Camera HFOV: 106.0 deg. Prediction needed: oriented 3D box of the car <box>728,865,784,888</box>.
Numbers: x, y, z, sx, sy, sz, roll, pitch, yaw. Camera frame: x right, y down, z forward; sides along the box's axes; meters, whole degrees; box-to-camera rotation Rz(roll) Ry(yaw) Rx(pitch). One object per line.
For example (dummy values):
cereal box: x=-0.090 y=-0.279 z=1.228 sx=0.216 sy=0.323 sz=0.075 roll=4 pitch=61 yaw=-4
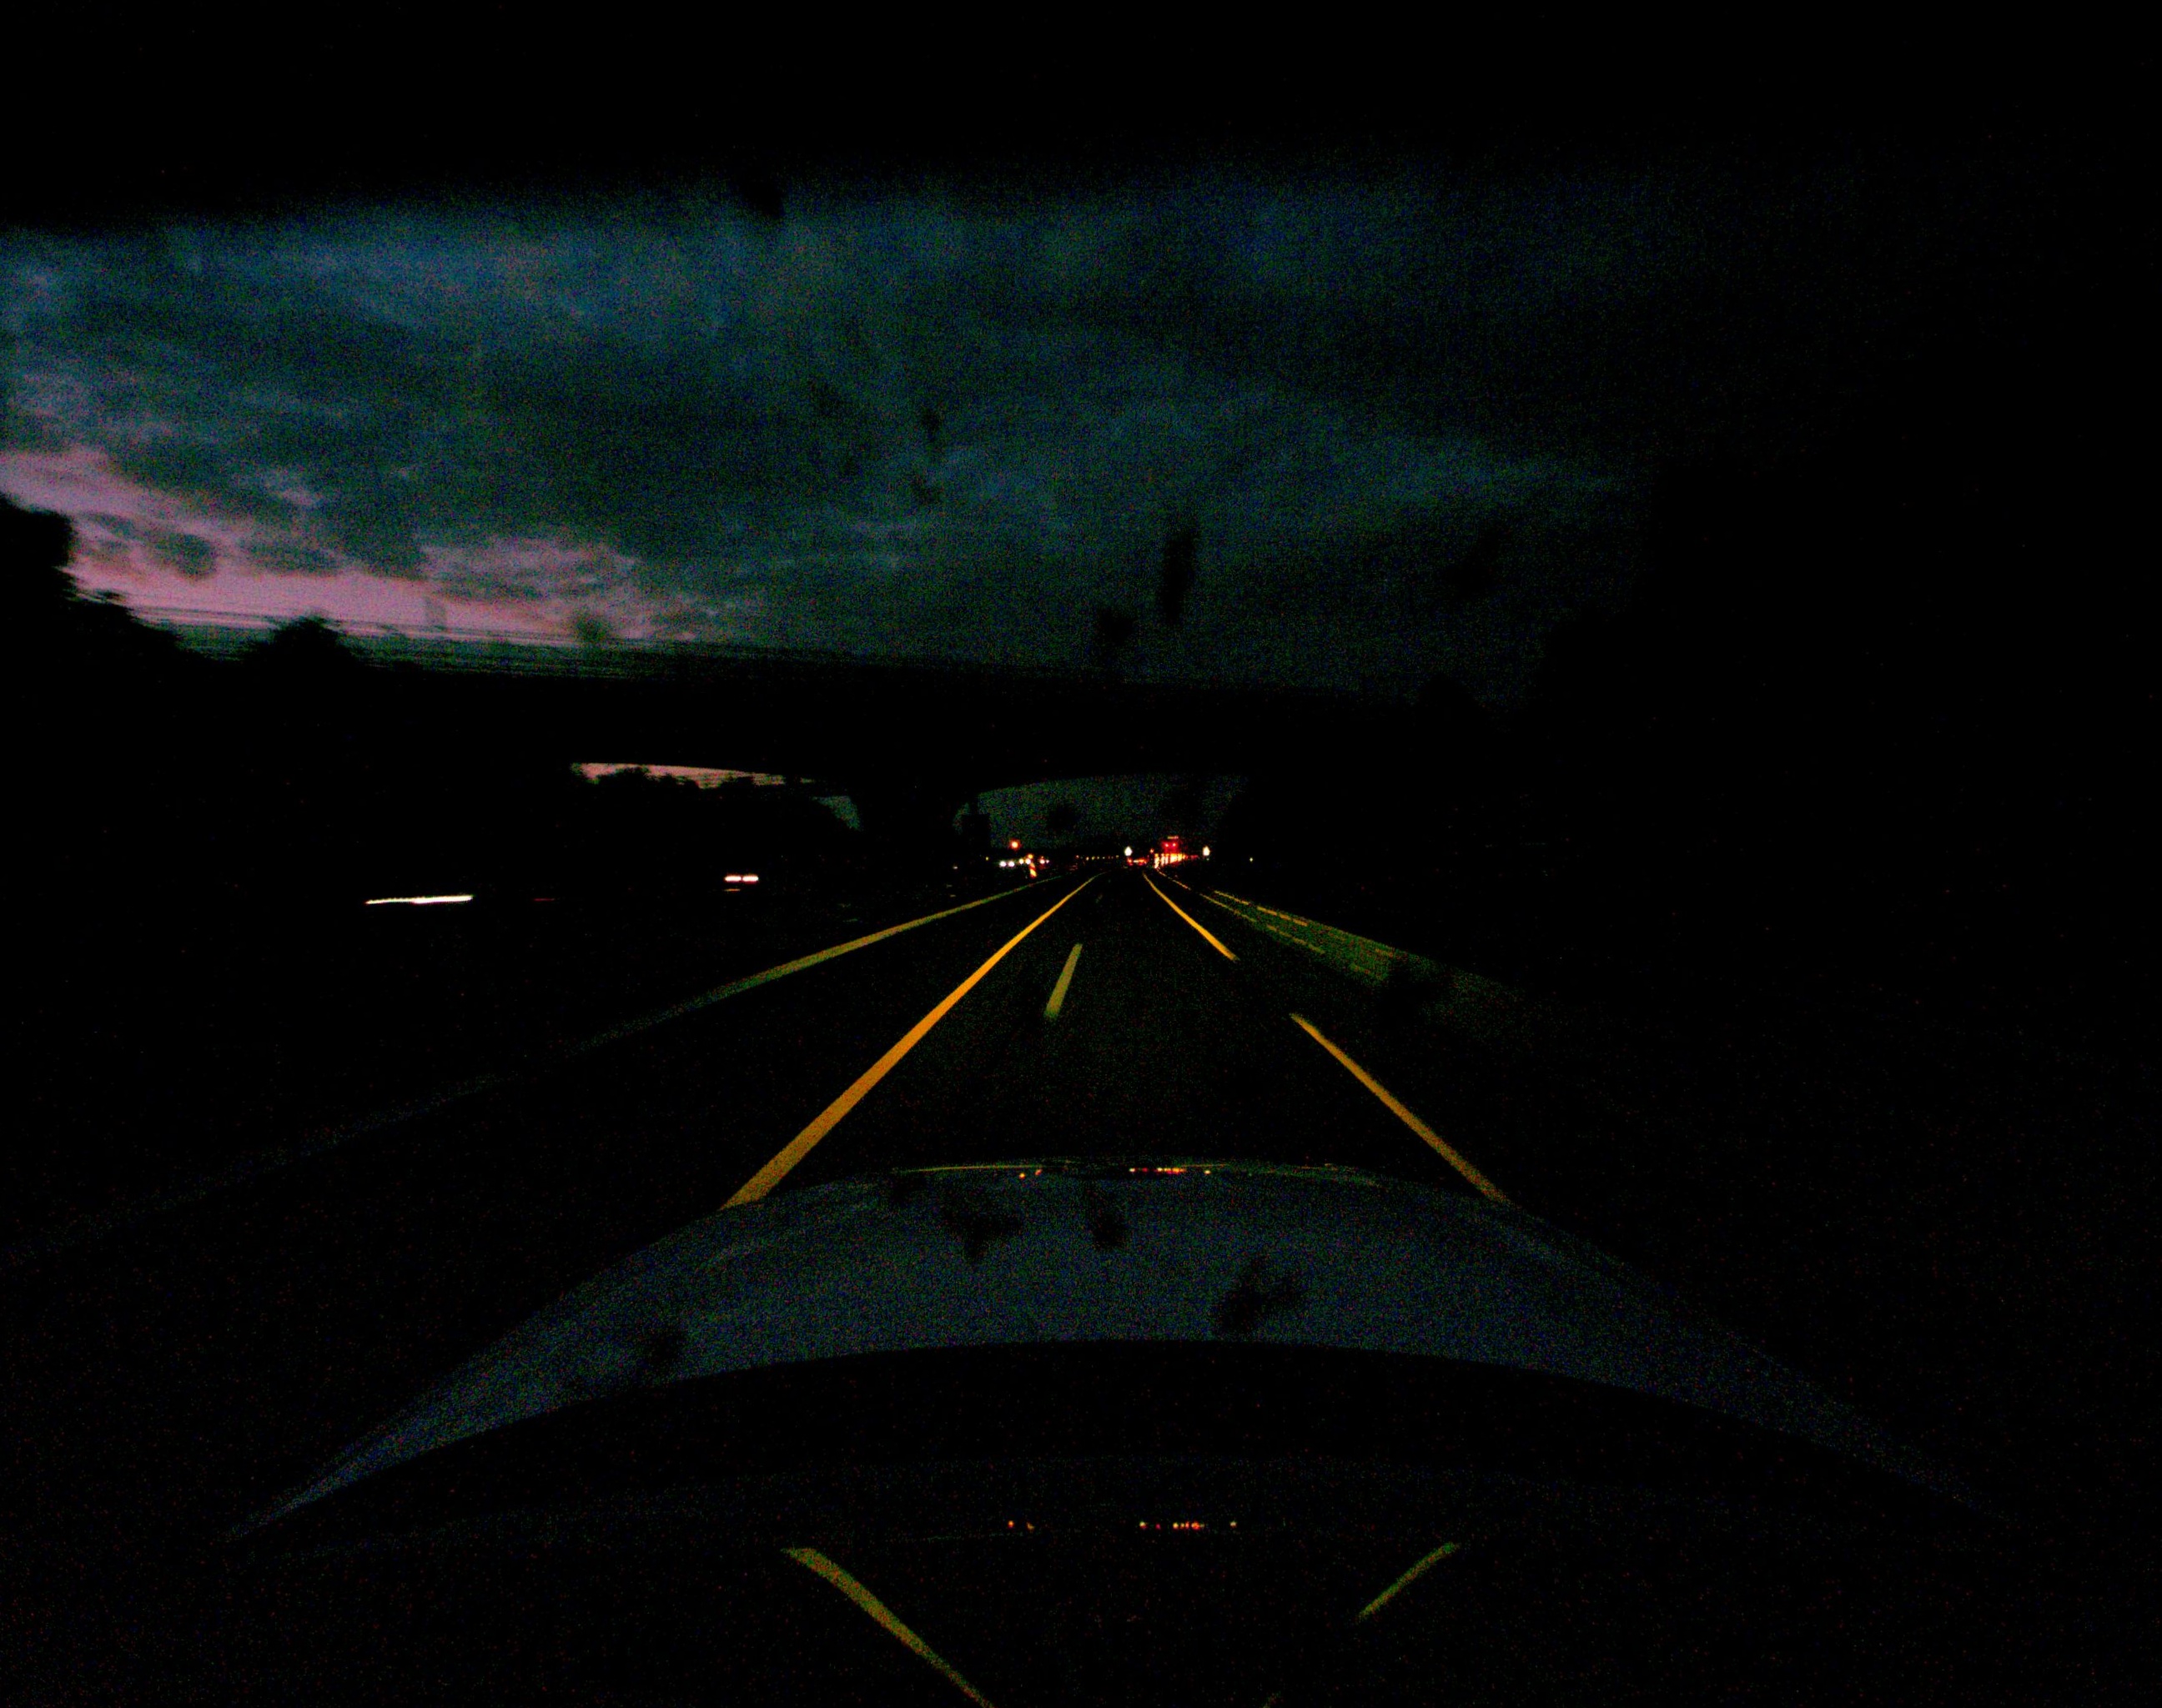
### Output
car: x=-21.537 y=1.476 z=54.109 sx=1.986 sy=1.323 sz=4.001 roll=-2 pitch=0 yaw=1

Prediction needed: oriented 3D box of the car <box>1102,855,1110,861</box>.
car: x=7.008 y=1.090 z=227.809 sx=1.983 sy=1.714 sz=4.008 roll=0 pitch=0 yaw=7

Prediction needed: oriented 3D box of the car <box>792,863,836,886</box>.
car: x=-17.777 y=1.353 z=54.447 sx=1.620 sy=1.406 sz=3.523 roll=0 pitch=0 yaw=3

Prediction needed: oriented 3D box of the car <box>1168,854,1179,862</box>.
car: x=17.751 y=0.820 z=156.043 sx=1.962 sy=1.437 sz=4.005 roll=0 pitch=0 yaw=5

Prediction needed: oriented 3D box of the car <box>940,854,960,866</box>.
car: x=-16.892 y=0.788 z=105.070 sx=1.695 sy=1.455 sz=3.935 roll=0 pitch=0 yaw=4

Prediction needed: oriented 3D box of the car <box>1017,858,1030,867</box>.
car: x=-11.449 y=1.614 z=162.028 sx=1.897 sy=1.714 sz=3.950 roll=0 pitch=0 yaw=6

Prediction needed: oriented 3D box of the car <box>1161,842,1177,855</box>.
car: x=23.637 y=-1.479 z=218.139 sx=3.592 sy=3.395 sz=8.015 roll=0 pitch=0 yaw=1

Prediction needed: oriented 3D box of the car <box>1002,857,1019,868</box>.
car: x=-10.969 y=1.250 z=126.580 sx=1.821 sy=1.661 sz=4.848 roll=0 pitch=0 yaw=6

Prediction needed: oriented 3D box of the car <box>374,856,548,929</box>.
car: x=-20.462 y=1.187 z=27.226 sx=1.986 sy=2.190 sz=4.804 roll=0 pitch=0 yaw=2

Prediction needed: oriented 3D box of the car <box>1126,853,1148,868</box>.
car: x=6.102 y=0.691 z=88.934 sx=2.256 sy=1.621 sz=4.003 roll=0 pitch=0 yaw=3
